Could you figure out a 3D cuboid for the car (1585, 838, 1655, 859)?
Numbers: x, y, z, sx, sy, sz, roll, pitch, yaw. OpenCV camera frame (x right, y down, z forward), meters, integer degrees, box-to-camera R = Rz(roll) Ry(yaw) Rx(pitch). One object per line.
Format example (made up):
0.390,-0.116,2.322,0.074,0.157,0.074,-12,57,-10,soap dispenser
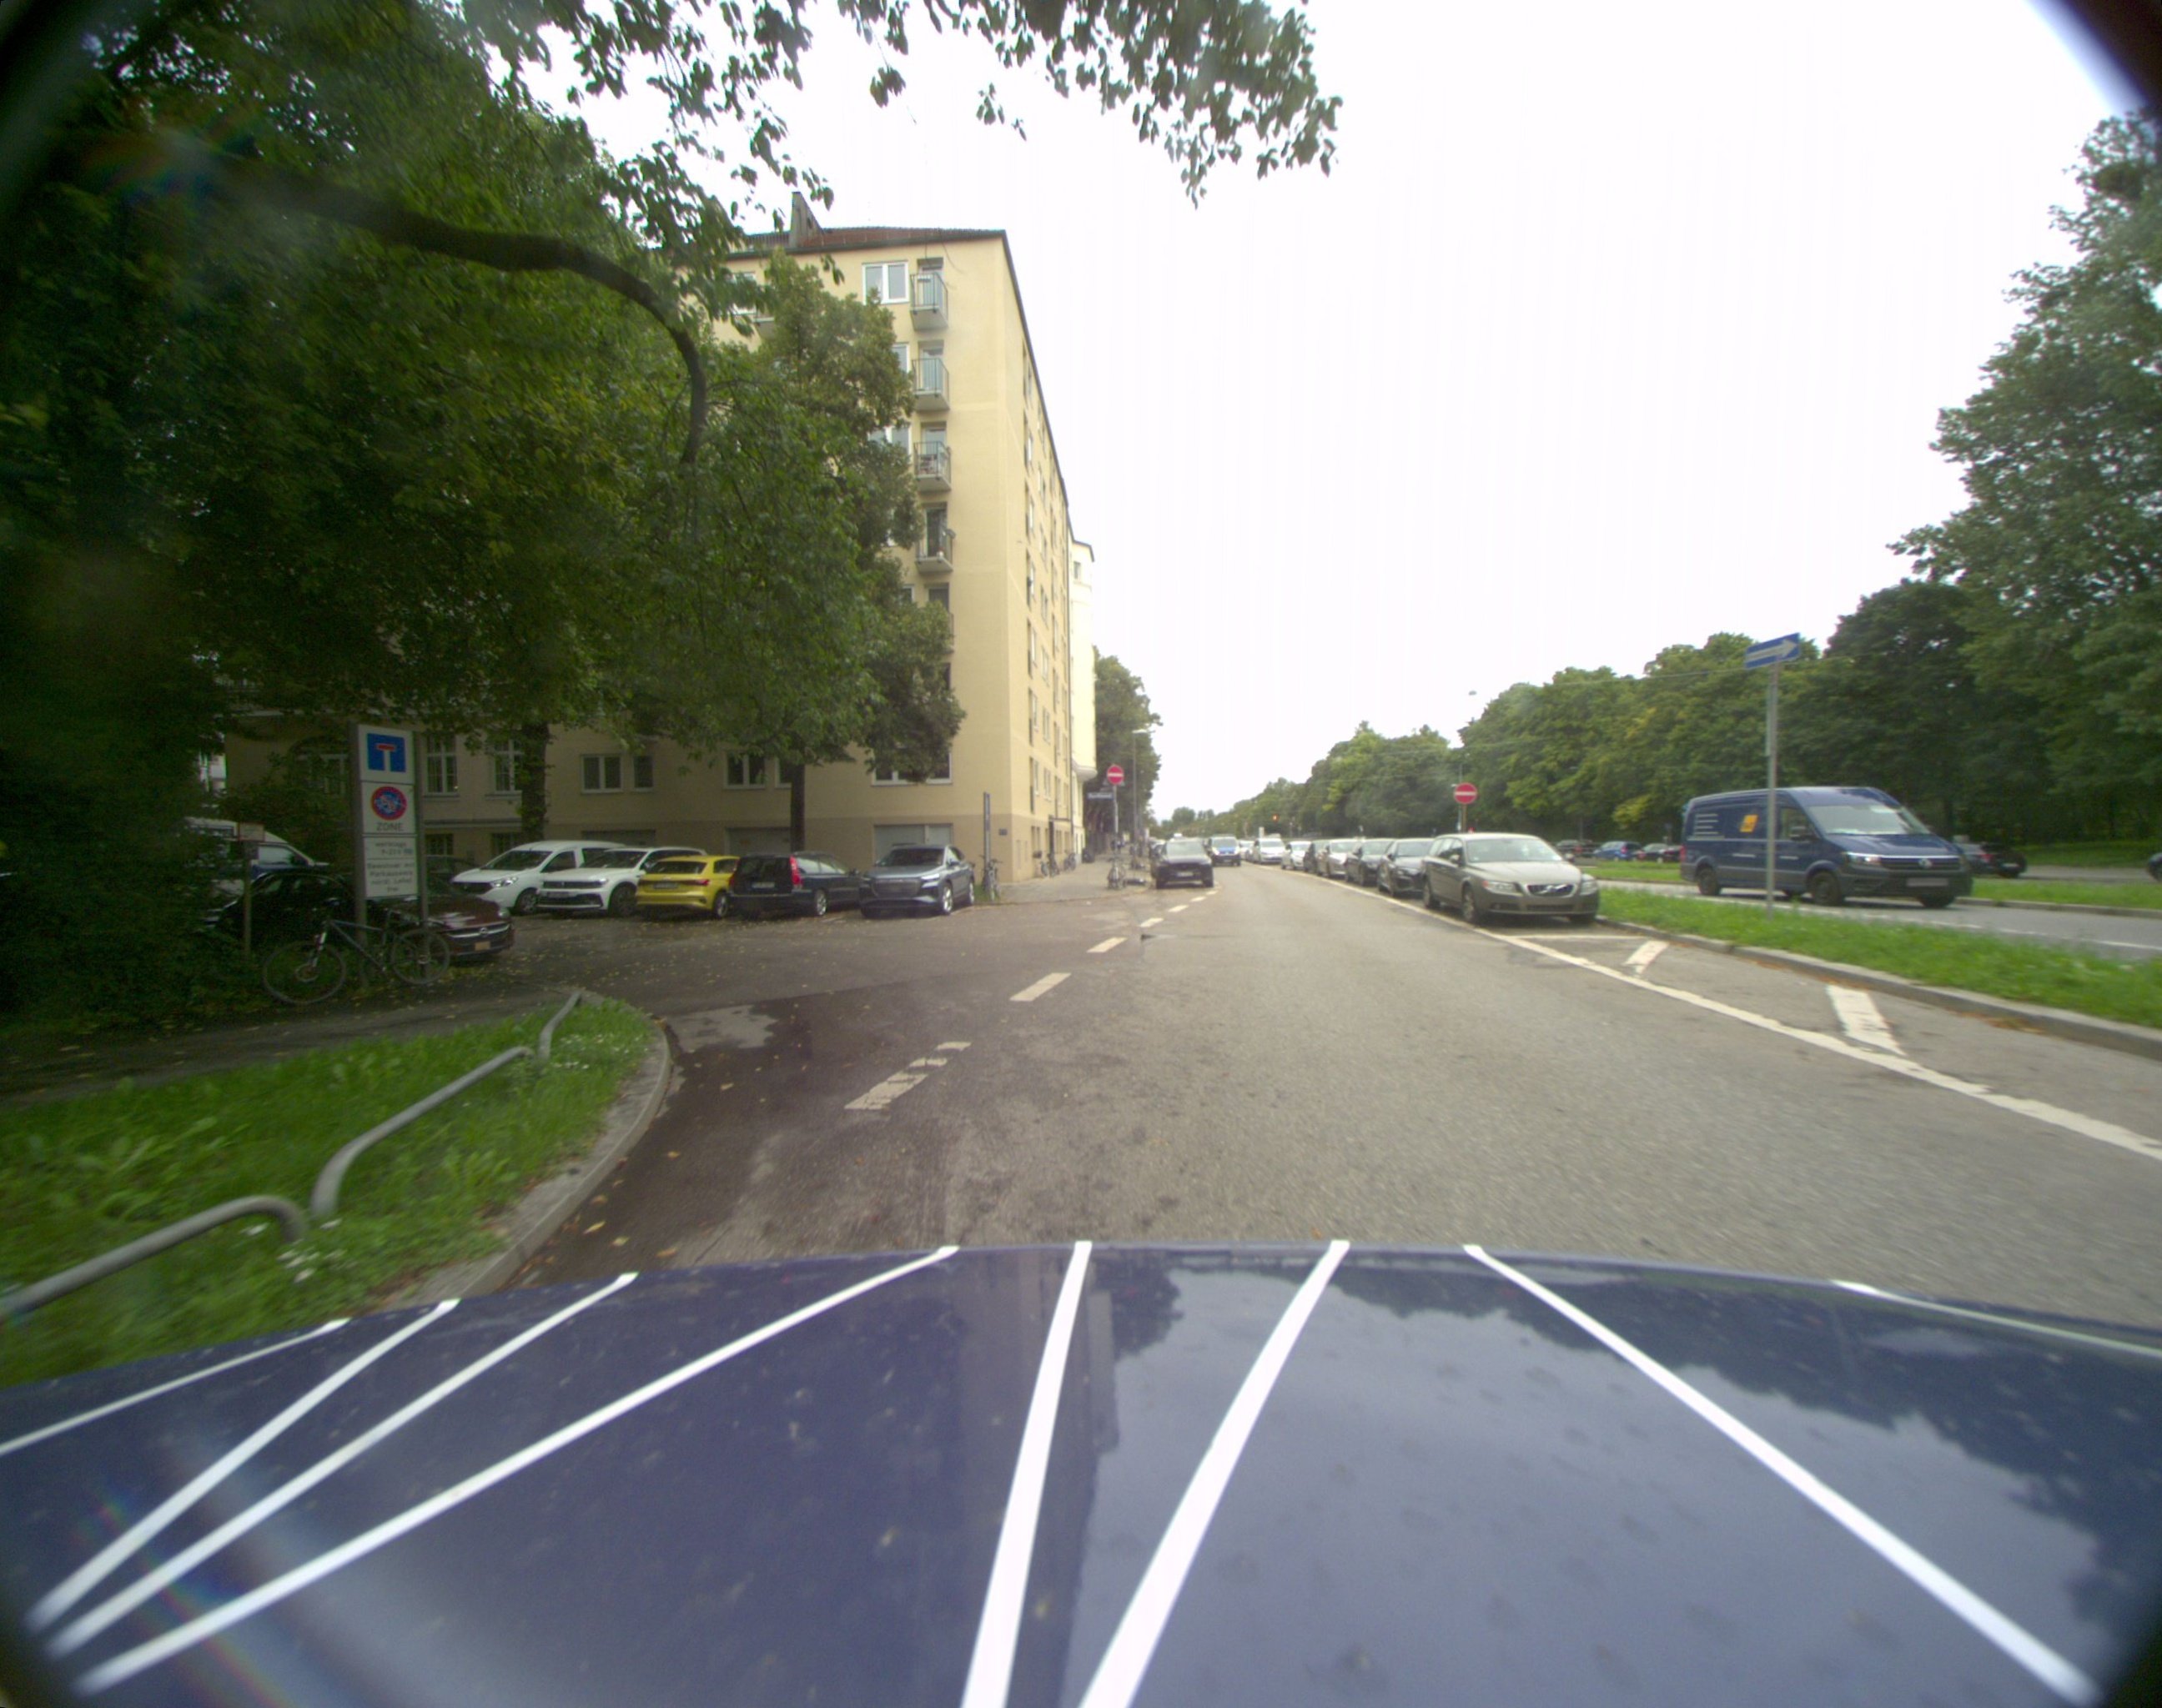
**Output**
38.169,-0.431,53.956,1.998,1.438,4.318,0,1,3,car

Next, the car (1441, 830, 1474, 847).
40.413,-1.689,81.599,1.884,1.736,4.001,-1,2,7,car

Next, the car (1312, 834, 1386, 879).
10.075,0.030,28.852,1.990,1.556,4.285,-1,1,11,car

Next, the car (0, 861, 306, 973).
-14.705,0.916,11.634,4.041,1.488,1.734,-1,2,5,car

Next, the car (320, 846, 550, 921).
-15.981,0.651,19.174,1.916,1.590,4.245,-1,1,5,car

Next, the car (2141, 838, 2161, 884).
35.379,0.265,22.503,1.998,1.438,4.318,0,1,3,car

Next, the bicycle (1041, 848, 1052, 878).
-1.416,0.358,31.105,0.363,1.164,1.318,-1,1,-4,bicycle

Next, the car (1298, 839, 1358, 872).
11.133,0.013,34.549,1.765,1.362,4.284,-1,1,7,car

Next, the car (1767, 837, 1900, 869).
35.996,-0.076,36.545,1.998,1.438,4.525,0,1,3,car

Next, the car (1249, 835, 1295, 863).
12.667,-0.366,50.652,2.074,1.693,5.090,-1,1,4,car

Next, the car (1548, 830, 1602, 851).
38.460,-1.081,59.226,1.910,1.549,4.000,-1,2,6,car

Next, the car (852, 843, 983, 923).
-3.624,0.570,17.638,1.824,1.556,4.245,-1,1,4,car

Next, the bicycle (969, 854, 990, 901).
-2.769,0.639,20.870,0.282,1.224,1.239,-1,2,5,bicycle

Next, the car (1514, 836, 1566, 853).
39.035,-0.839,64.738,1.998,1.438,4.318,0,1,3,car

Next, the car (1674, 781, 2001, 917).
16.029,-0.193,16.775,2.187,2.450,5.854,-1,2,11,car

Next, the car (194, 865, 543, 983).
-10.252,0.959,11.079,3.703,1.488,1.734,-1,2,9,car

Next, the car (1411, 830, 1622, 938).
7.385,0.383,13.489,1.902,1.556,4.774,-1,2,12,car

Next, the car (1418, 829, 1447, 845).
41.120,-1.985,88.926,1.865,1.736,4.001,-1,2,7,car

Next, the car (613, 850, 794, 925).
-8.744,0.705,18.099,1.916,1.459,4.245,-1,1,4,car

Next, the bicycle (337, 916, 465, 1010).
-7.579,1.188,8.518,0.249,0.875,1.080,-1,2,15,bicycle

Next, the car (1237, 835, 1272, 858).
13.649,-0.637,60.032,2.074,1.693,4.560,-1,1,4,car

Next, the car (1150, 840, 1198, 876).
4.483,0.147,36.921,2.128,1.556,4.508,-2,1,6,car

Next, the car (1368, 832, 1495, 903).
8.563,0.254,18.979,1.990,1.556,4.285,-1,2,12,car

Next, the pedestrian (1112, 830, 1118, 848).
3.734,-1.639,83.859,0.458,2.002,0.618,-1,2,-11,pedestrian

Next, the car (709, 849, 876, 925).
-6.603,0.680,17.987,2.052,1.459,4.245,-1,1,4,car

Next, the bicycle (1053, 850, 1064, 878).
-0.964,0.418,32.647,0.401,1.164,1.318,-1,1,-4,bicycle

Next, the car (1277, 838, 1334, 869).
11.650,-0.058,39.723,1.991,1.448,4.283,-1,1,4,car

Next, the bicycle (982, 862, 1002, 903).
-2.414,0.758,20.726,0.282,1.055,1.239,-1,2,5,bicycle

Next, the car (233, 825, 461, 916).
-20.565,0.357,21.499,1.899,2.300,4.188,0,2,29,car

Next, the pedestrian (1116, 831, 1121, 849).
4.189,-1.536,84.576,0.458,2.002,0.618,-1,2,-11,pedestrian

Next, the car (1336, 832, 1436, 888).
9.465,0.119,23.934,1.991,1.556,4.284,-1,1,9,car

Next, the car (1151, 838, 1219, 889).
3.645,0.257,26.673,2.128,1.556,4.509,-2,1,8,car

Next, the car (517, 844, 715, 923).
-11.002,0.618,18.425,1.916,1.611,4.245,-1,1,4,car

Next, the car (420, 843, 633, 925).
-13.542,0.635,18.961,1.916,1.741,4.245,-1,1,5,car

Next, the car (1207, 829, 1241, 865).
9.428,-0.492,50.338,1.855,2.199,4.554,-1,2,7,car

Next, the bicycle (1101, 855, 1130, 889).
1.138,0.574,24.690,0.632,1.032,1.737,0,2,13,bicycle

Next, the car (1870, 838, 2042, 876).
35.851,0.071,31.359,1.998,1.438,4.525,0,1,3,car
